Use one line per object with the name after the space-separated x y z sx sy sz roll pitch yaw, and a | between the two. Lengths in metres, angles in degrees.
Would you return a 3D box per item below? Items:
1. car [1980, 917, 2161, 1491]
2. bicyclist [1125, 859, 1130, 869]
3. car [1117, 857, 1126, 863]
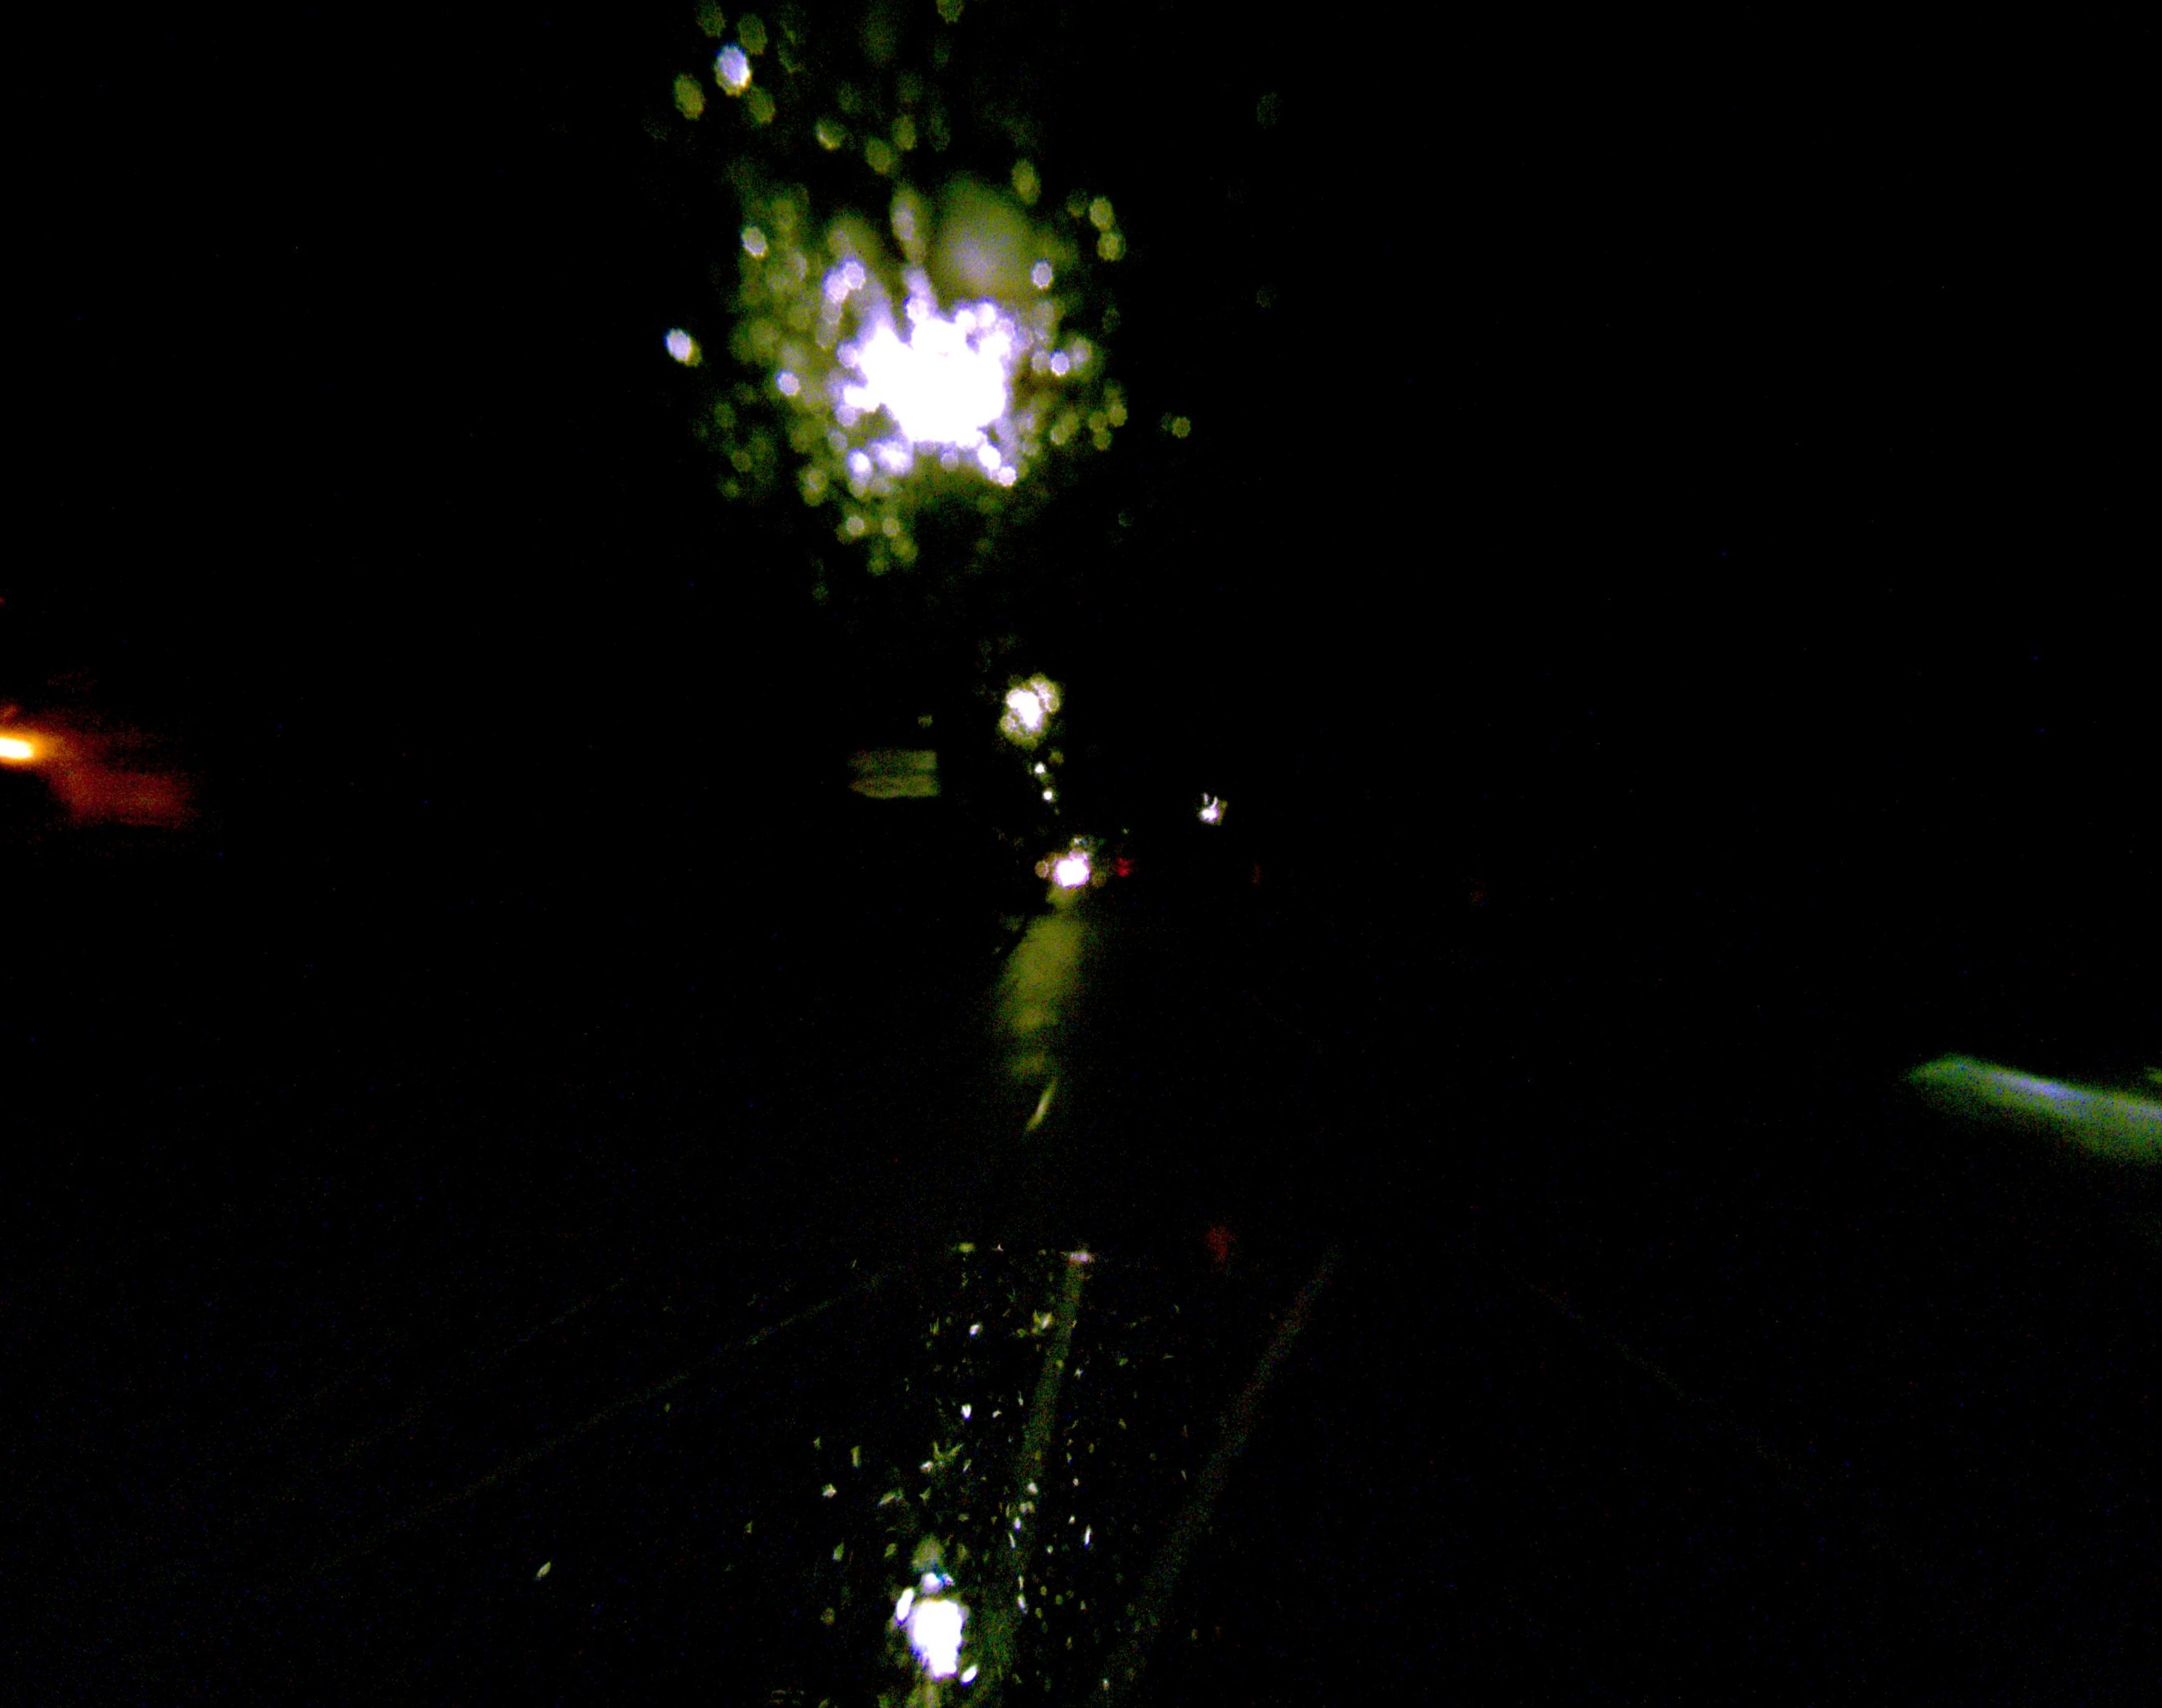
3.607 0.897 0.320 1.749 1.425 4.000 -1 0 0 | car
7.290 1.549 118.231 0.638 1.585 0.961 -3 -2 -2 | bicyclist
10.420 1.492 195.191 1.997 1.447 4.305 2 1 7 | car
